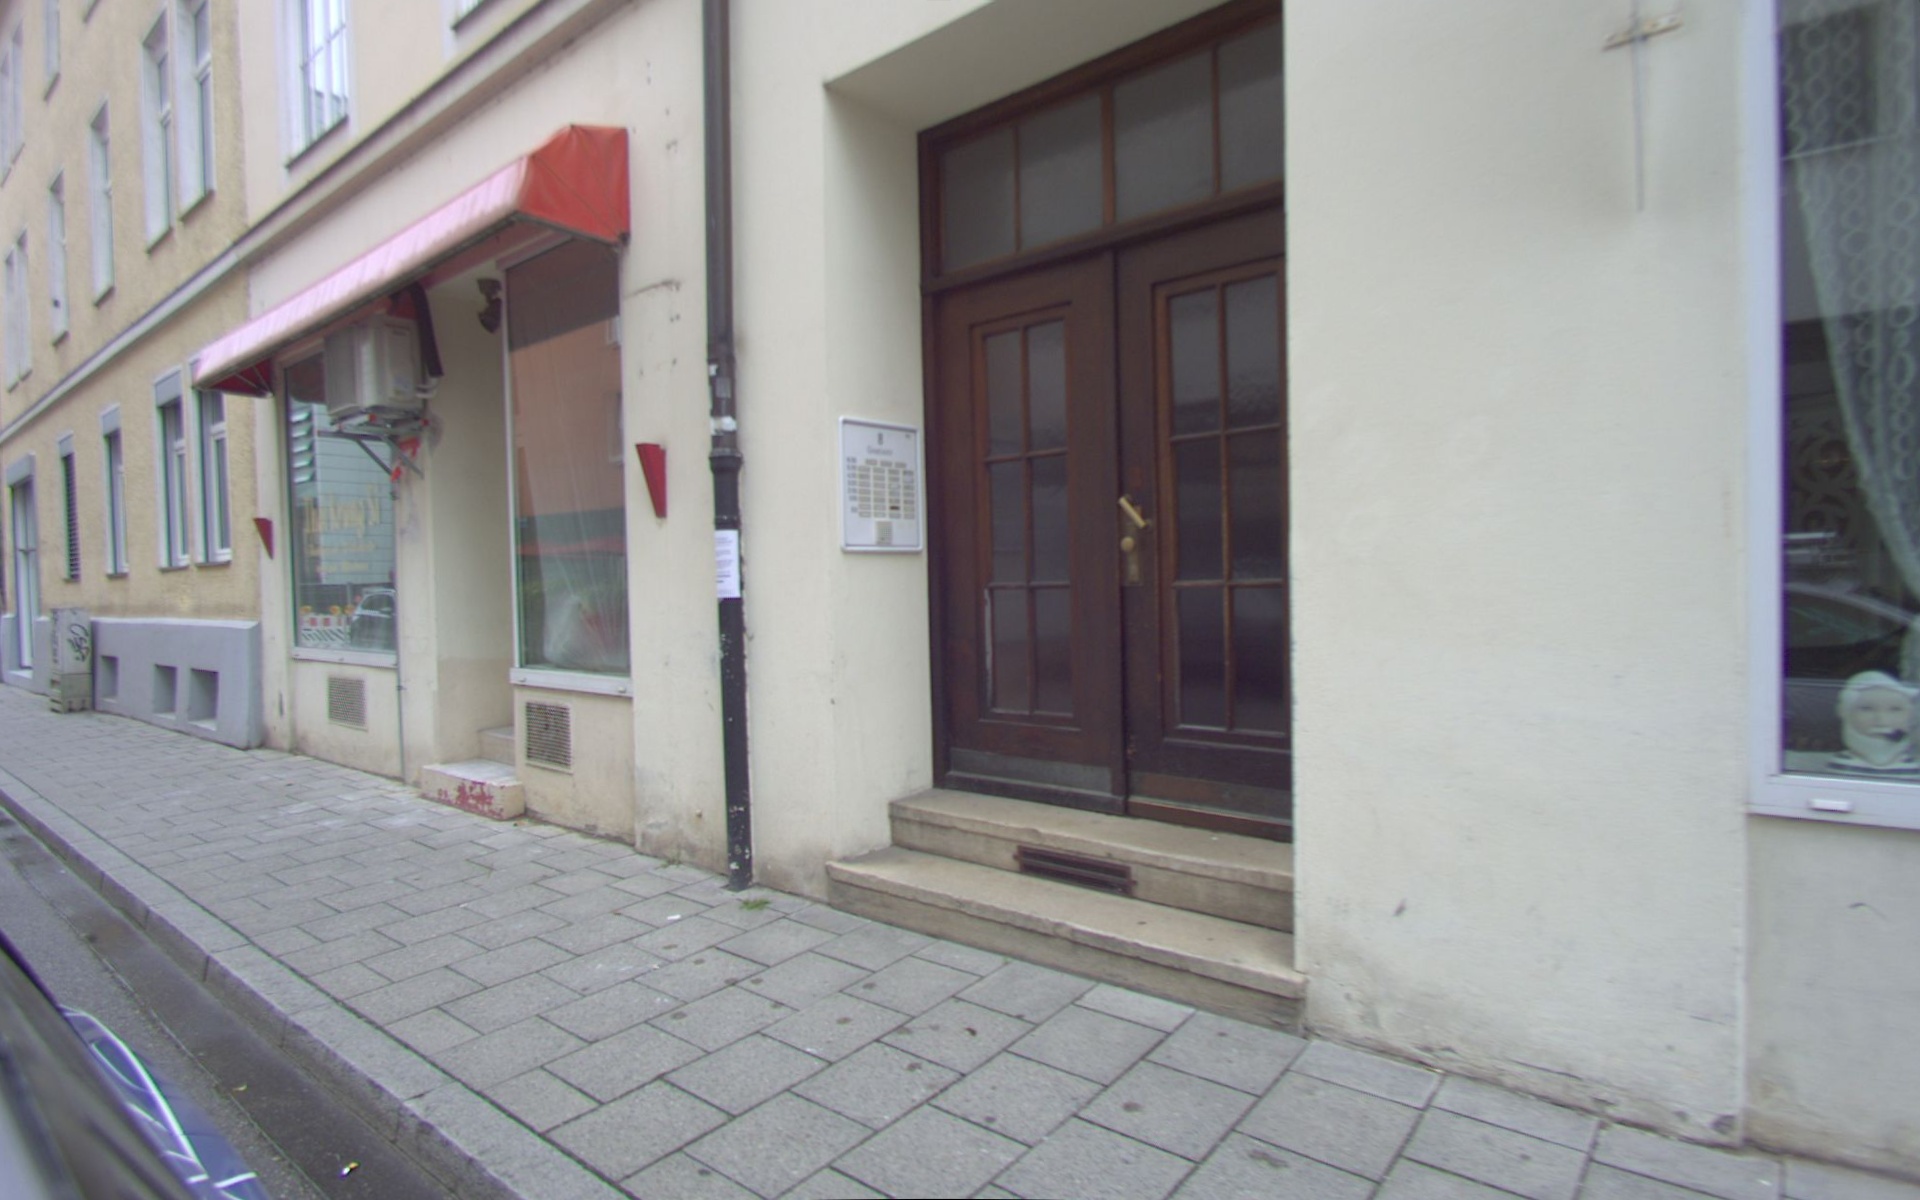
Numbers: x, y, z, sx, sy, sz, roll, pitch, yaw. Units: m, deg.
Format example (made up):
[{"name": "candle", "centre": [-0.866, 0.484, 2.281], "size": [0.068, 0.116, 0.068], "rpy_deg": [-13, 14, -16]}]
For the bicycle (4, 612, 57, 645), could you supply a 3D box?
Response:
[{"name": "bicycle", "centre": [-36.696, 1.134, 39.945], "size": [1.985, 1.217, 0.708], "rpy_deg": [-1, 2, 23]}]
